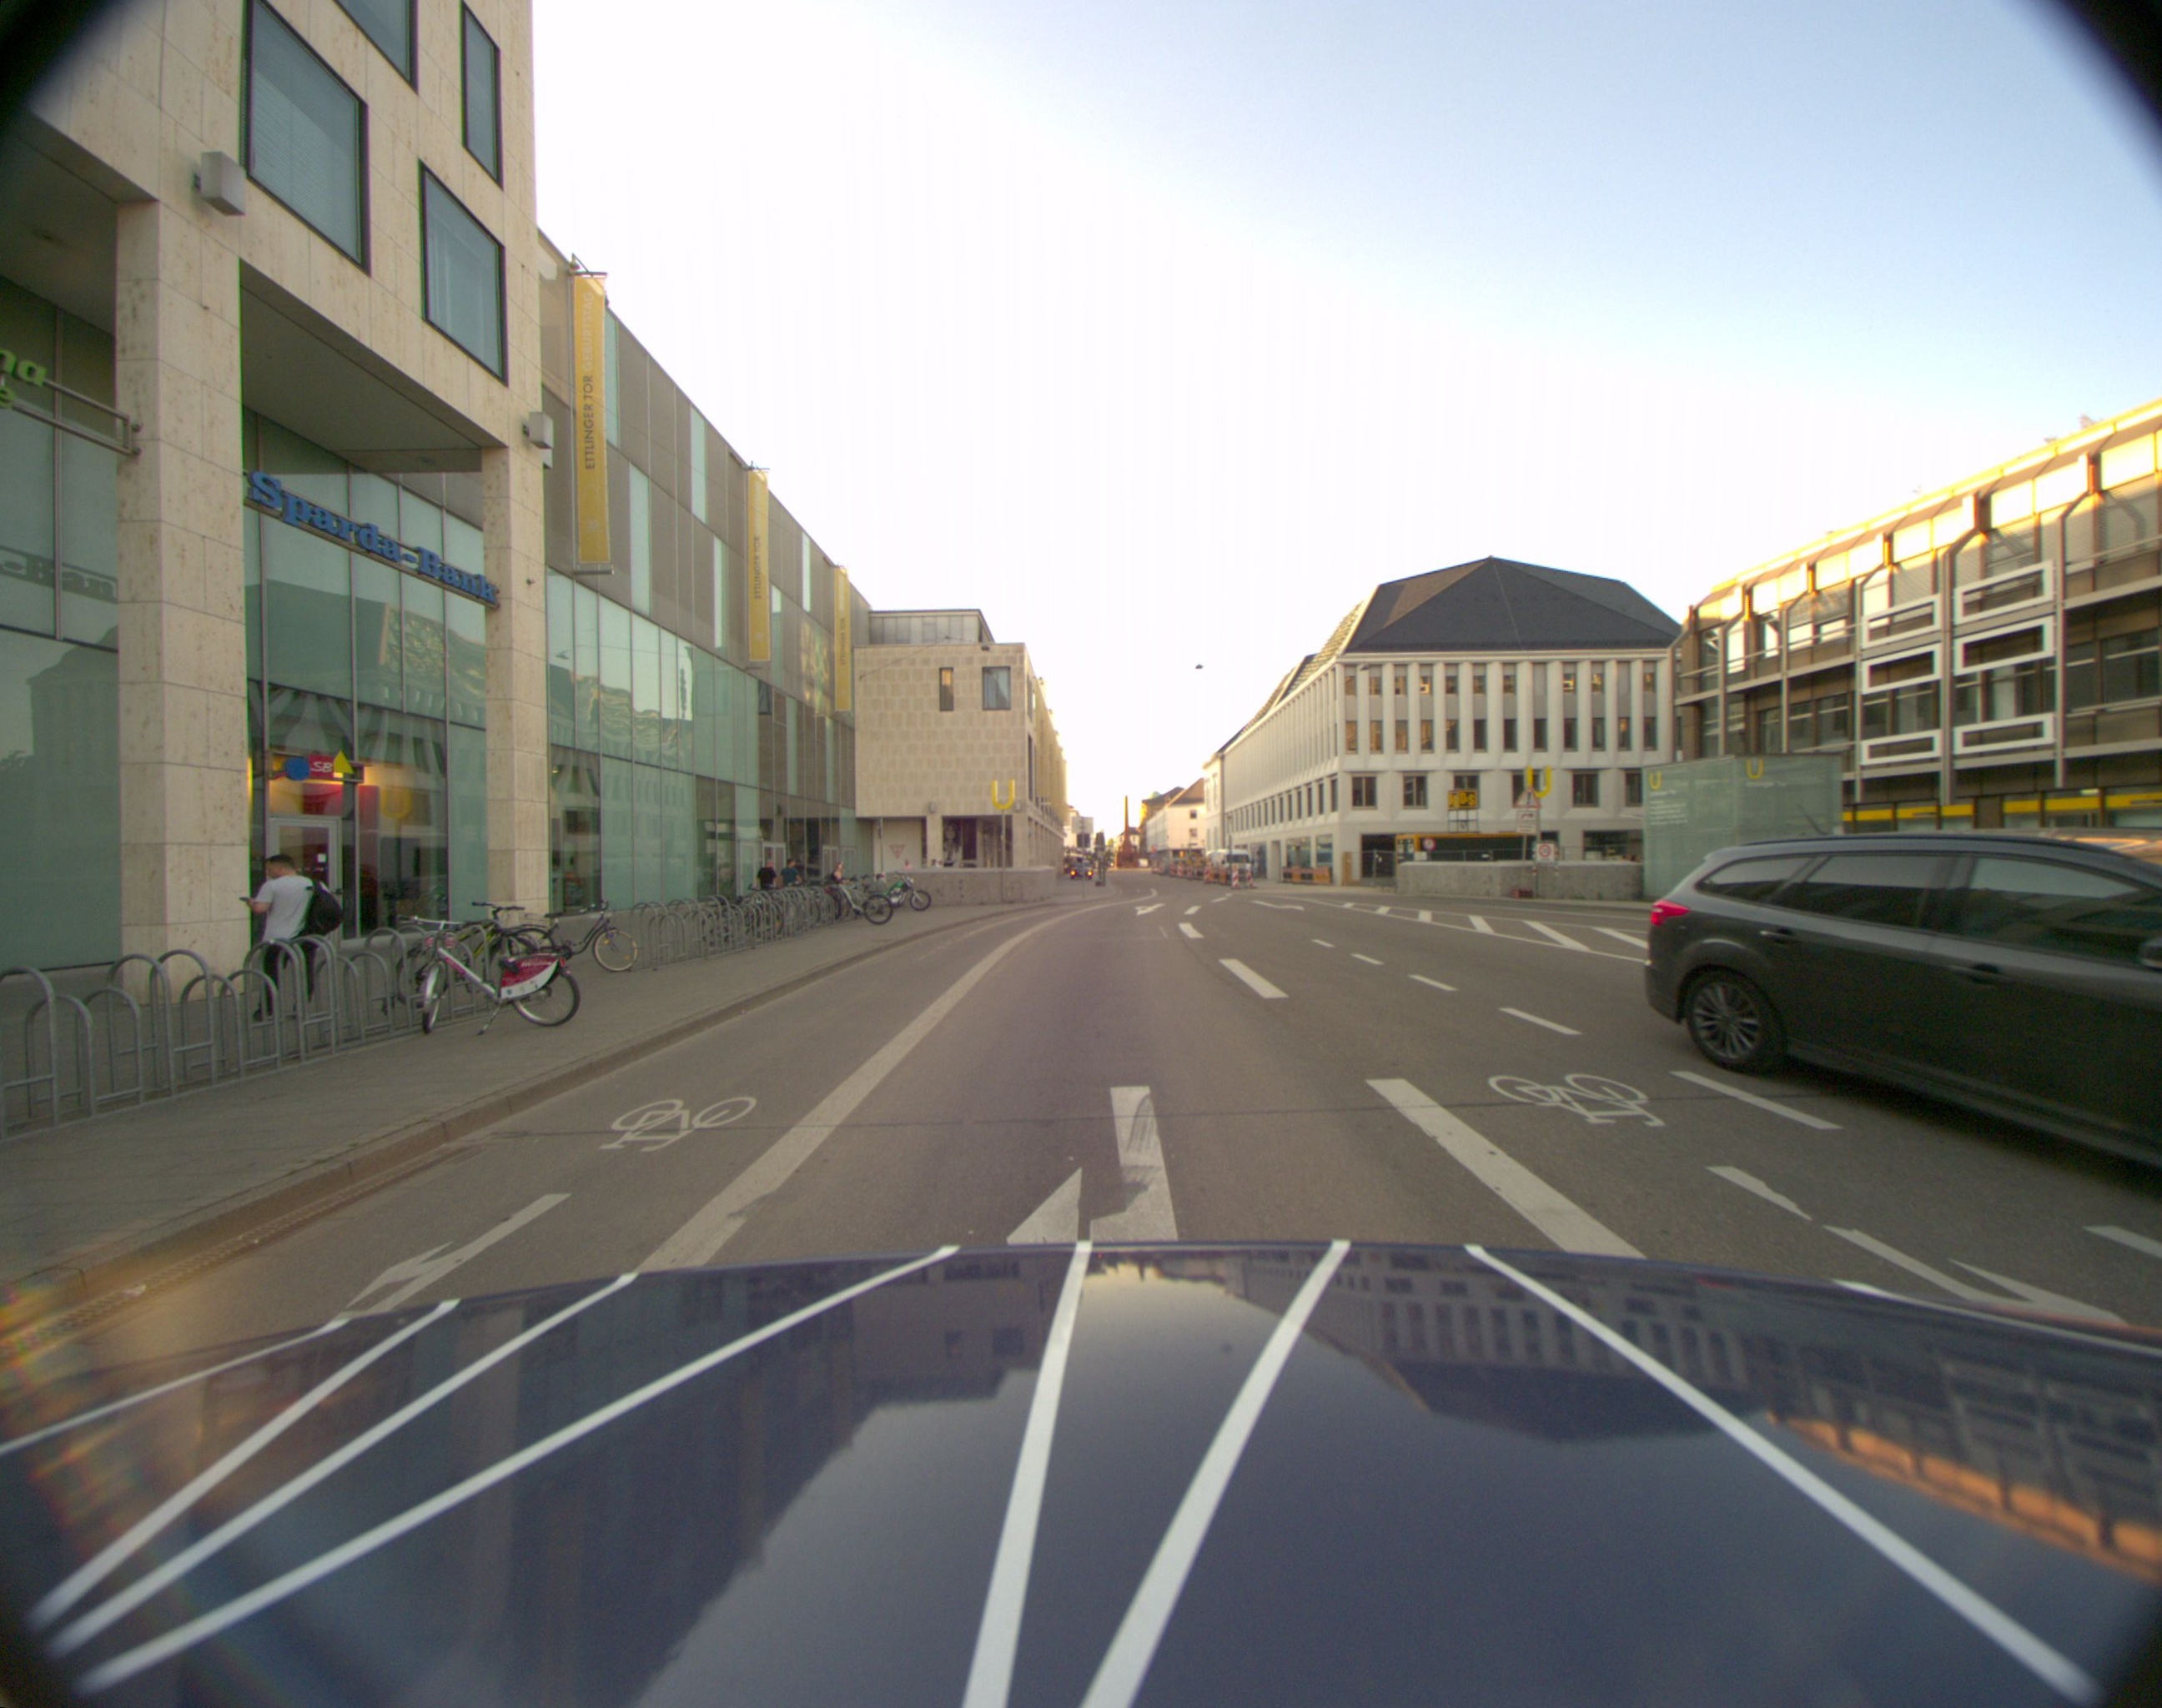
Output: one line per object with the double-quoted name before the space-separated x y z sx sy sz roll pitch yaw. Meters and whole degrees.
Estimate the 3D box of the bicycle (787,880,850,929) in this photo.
"bicycle" -6.603 1.267 19.164 1.345 1.157 0.518 -3 0 -1

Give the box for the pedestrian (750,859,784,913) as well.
"pedestrian" -9.644 0.973 23.347 0.741 1.638 0.820 -1 0 -7

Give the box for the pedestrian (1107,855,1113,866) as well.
"pedestrian" 4.157 0.946 108.955 0.692 1.628 0.597 -1 0 17

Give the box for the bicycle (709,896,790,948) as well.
"bicycle" -6.596 1.356 15.150 1.345 0.927 0.518 -3 0 -1

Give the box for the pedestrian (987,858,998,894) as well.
"pedestrian" -4.252 1.057 36.486 0.454 1.733 0.493 -1 0 3

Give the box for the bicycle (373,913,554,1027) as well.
"bicycle" -6.797 1.261 8.394 1.518 1.117 0.581 -3 0 4

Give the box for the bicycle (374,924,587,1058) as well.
"bicycle" -5.398 1.222 6.868 1.518 1.057 0.466 -3 0 1

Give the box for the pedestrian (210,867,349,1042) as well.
"pedestrian" -8.084 0.979 7.690 0.707 1.682 0.629 -1 0 1

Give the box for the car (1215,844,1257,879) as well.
"car" 11.987 0.591 59.164 2.141 2.540 6.050 -1 0 1

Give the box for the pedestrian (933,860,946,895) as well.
"pedestrian" -7.054 1.150 37.821 0.494 1.733 0.657 -1 0 3

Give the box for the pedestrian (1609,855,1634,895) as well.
"pedestrian" 20.397 0.771 28.662 0.532 1.487 0.555 -1 0 1

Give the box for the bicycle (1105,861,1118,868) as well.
"bicycle" 4.392 1.469 108.831 1.770 1.036 0.599 -1 0 17

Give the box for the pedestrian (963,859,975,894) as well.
"pedestrian" -5.581 1.125 37.878 0.504 1.733 0.493 -1 0 3

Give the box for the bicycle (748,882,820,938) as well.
"bicycle" -6.659 1.240 17.079 1.345 1.157 0.518 -3 0 -1

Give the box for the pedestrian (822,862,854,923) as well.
"pedestrian" -6.709 1.048 21.012 0.809 1.633 0.646 -1 0 -18

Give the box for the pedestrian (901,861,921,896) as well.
"pedestrian" -8.399 1.194 37.602 0.793 1.733 0.657 -1 0 3

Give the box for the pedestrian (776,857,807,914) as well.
"pedestrian" -8.829 0.945 23.224 0.698 1.686 0.820 -1 0 -7

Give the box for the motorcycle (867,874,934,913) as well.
"motorcycle" -5.710 1.244 24.086 2.007 1.217 0.480 -1 0 -2

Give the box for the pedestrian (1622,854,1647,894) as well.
"pedestrian" 21.031 0.744 28.881 0.532 1.487 0.555 -1 0 1

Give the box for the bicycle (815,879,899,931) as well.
"bicycle" -5.388 1.221 18.321 1.838 1.140 0.466 -3 0 1

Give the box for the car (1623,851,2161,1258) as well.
"car" 4.860 0.743 3.313 1.762 1.454 4.379 -2 0 -1

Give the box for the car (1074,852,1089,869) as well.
"car" 0.024 0.838 100.127 1.798 2.198 3.671 -1 0 2

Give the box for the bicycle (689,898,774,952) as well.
"bicycle" -6.654 1.347 14.505 1.345 0.927 0.518 -3 0 -1

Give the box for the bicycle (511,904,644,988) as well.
"bicycle" -7.302 1.318 11.074 1.447 1.058 0.580 -3 0 -10

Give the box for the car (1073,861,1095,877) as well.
"car" 0.334 1.296 67.776 1.798 1.365 3.671 -1 0 2
